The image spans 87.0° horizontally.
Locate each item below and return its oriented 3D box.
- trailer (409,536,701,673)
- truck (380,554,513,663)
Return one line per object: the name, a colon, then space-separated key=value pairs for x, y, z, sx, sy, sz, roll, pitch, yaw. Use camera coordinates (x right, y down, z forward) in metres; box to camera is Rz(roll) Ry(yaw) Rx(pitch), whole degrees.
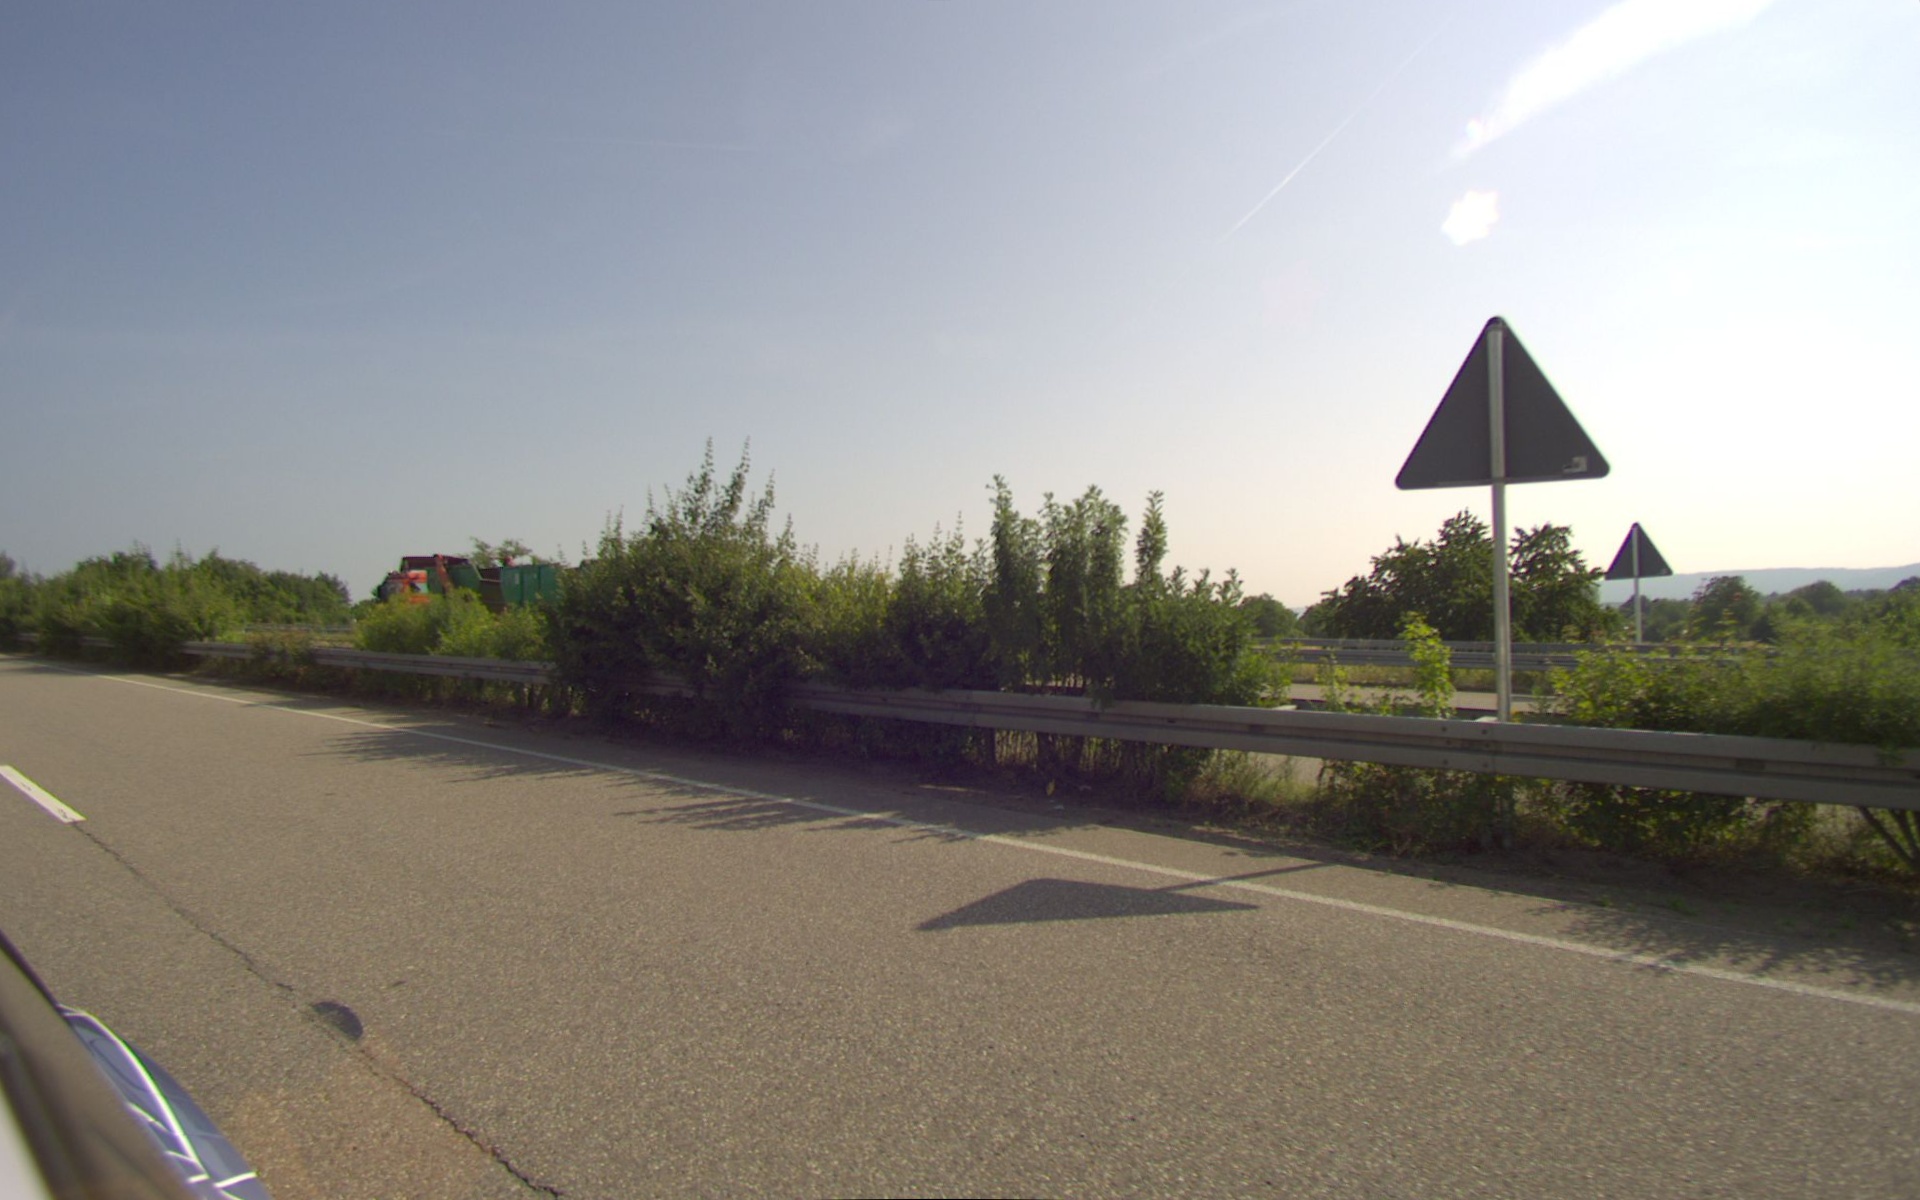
trailer: x=-12.616 y=0.213 z=30.258 sx=13.415 sy=3.401 sz=1.973 roll=-1 pitch=-1 yaw=40
truck: x=-17.470 y=0.308 z=34.299 sx=5.623 sy=3.401 sz=1.973 roll=-1 pitch=-1 yaw=40
